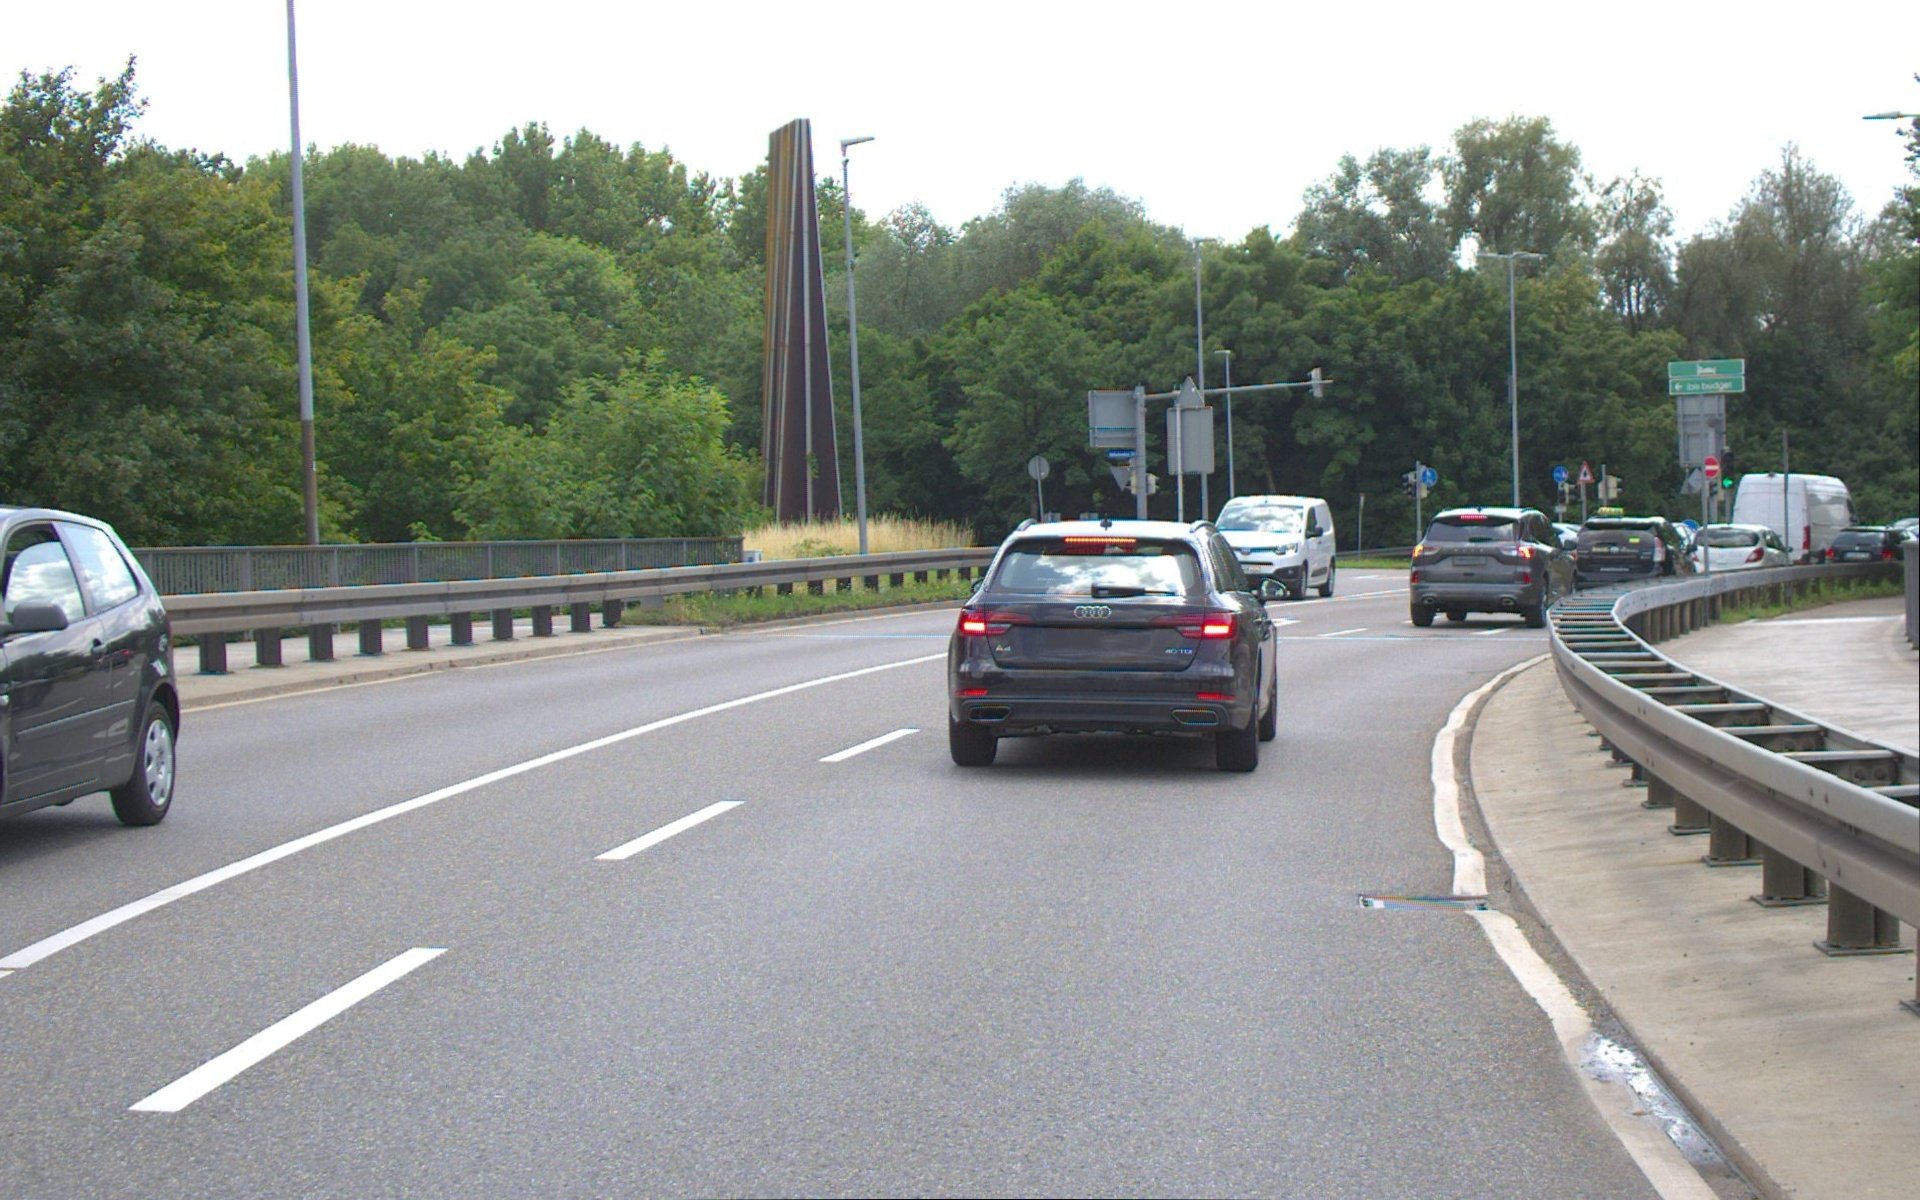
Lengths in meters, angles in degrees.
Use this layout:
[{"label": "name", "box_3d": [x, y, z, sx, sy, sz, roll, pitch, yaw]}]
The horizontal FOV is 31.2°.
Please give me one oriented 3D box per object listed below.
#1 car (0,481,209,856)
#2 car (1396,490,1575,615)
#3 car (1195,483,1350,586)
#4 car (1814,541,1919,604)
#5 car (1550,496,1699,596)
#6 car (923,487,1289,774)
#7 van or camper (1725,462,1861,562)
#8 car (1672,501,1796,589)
[{"label": "car", "box_3d": [-4.552, 0.222, 14.193, 1.815, 1.447, 3.926, 1, 2, 4]}, {"label": "car", "box_3d": [7.418, -0.690, 48.271, 1.823, 1.646, 3.852, 2, 2, 18]}, {"label": "car", "box_3d": [5.642, -1.189, 61.609, 1.815, 1.748, 4.302, 2, 2, 18]}, {"label": "car", "box_3d": [21.084, -0.652, 79.324, 1.686, 1.393, 3.672, 1, 1, 31]}, {"label": "car", "box_3d": [11.478, -0.951, 59.209, 1.736, 1.646, 3.851, 1, 2, 23]}, {"label": "car", "box_3d": [0.994, 0.096, 20.958, 1.828, 1.486, 4.206, 2, 2, 7]}, {"label": "van or camper", "box_3d": [20.607, -2.211, 84.923, 2.276, 2.332, 5.234, 2, 3, 24]}, {"label": "car", "box_3d": [15.342, -1.081, 68.070, 1.735, 1.646, 3.851, 2, 1, 22]}]
